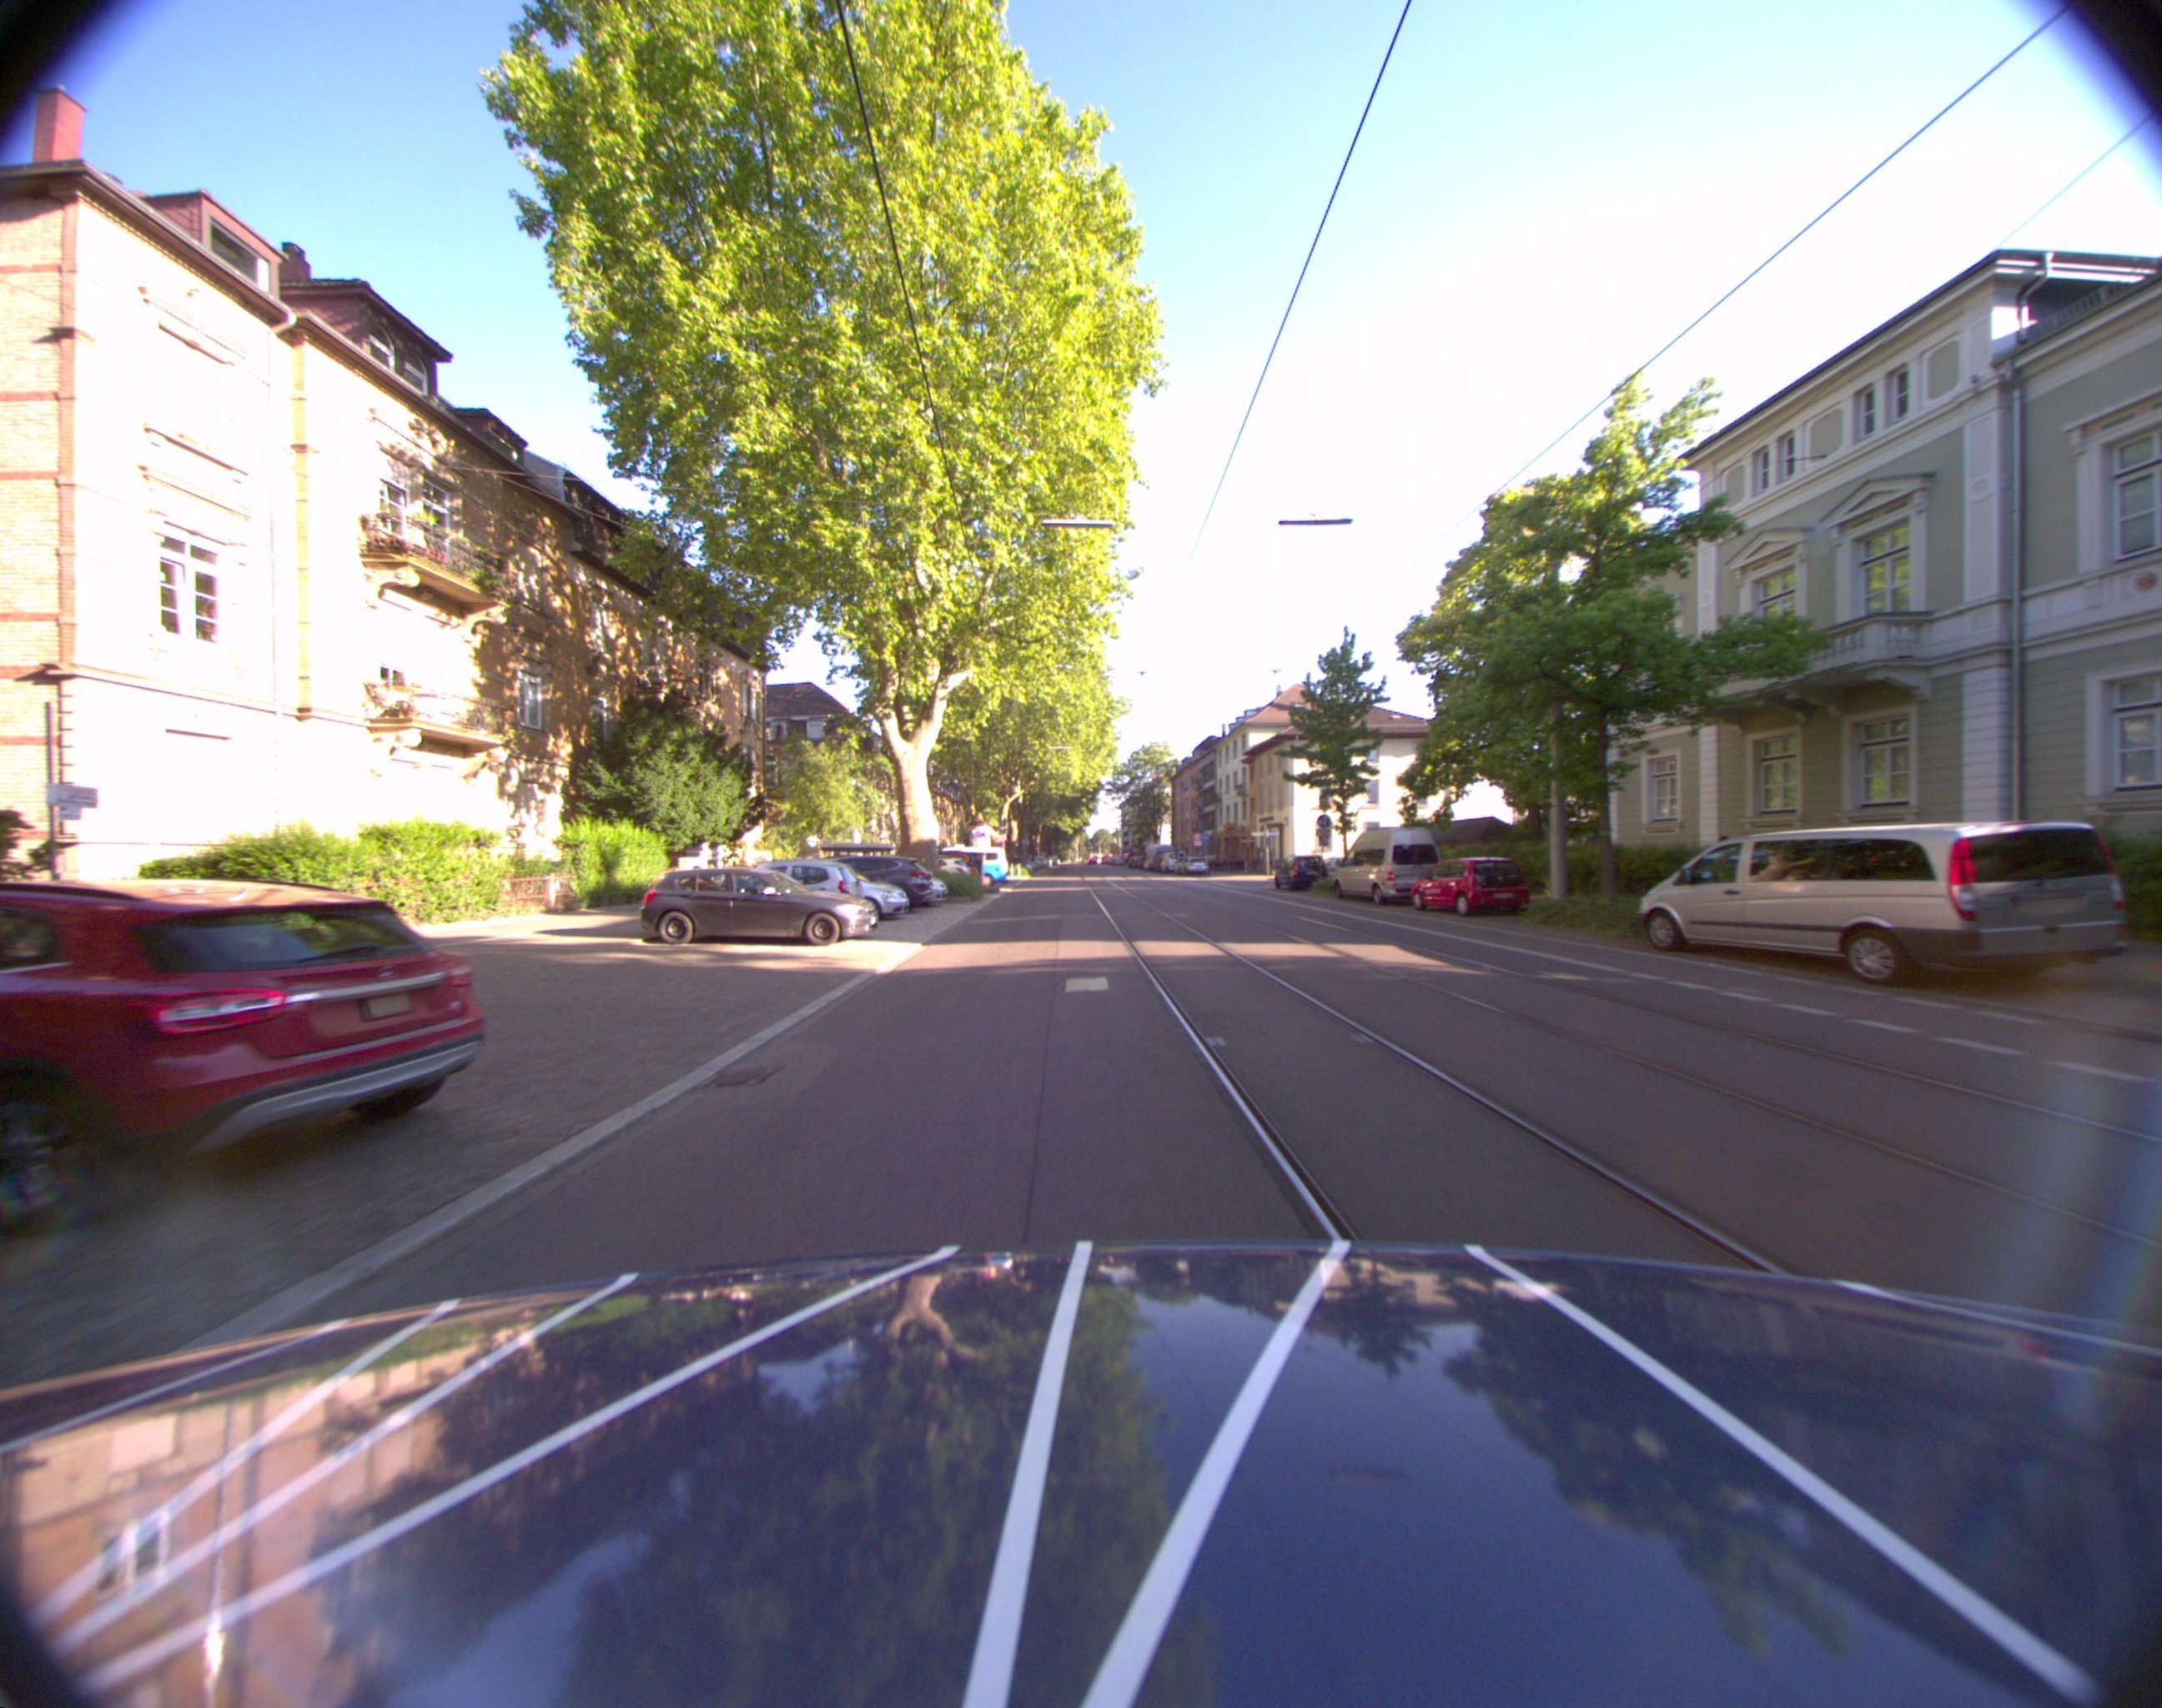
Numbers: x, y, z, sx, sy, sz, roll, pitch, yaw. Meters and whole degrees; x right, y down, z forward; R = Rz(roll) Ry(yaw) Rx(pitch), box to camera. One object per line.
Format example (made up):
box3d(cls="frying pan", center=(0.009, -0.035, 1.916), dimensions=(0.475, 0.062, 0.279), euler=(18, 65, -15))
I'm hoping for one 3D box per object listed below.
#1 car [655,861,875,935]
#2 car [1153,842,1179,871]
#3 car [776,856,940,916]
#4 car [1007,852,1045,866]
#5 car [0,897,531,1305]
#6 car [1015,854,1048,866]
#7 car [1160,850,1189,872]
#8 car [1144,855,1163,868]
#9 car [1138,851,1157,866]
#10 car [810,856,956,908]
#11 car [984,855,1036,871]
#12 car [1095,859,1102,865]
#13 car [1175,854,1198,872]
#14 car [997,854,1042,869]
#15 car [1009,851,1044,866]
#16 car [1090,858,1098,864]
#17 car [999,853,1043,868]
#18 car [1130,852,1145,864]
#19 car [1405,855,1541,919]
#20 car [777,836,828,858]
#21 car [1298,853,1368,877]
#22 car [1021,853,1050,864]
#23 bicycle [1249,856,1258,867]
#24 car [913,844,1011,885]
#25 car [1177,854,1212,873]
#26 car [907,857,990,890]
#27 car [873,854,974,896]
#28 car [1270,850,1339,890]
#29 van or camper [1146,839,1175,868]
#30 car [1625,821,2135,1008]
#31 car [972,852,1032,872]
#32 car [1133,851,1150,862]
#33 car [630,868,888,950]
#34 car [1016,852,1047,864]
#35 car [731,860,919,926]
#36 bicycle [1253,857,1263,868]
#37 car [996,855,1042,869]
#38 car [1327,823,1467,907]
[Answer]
box3d(cls="car", center=(-7.055, 0.962, 17.261), dimensions=(4.210, 1.546, 1.818), euler=(0, 0, 1))
box3d(cls="car", center=(8.719, 0.222, 78.575), dimensions=(1.928, 2.730, 4.546), euler=(-4, 0, -1))
box3d(cls="car", center=(-6.309, 0.893, 21.920), dimensions=(4.212, 1.609, 1.878), euler=(0, 0, -4))
box3d(cls="car", center=(-7.011, 0.670, 96.713), dimensions=(4.611, 1.781, 1.893), euler=(0, 0, 2))
box3d(cls="car", center=(-5.866, 1.063, 4.080), dimensions=(4.414, 1.534, 1.952), euler=(0, 0, 1))
box3d(cls="car", center=(-7.050, 0.837, 108.455), dimensions=(4.611, 1.631, 1.893), euler=(0, -1, 2))
box3d(cls="car", center=(8.907, 0.649, 72.517), dimensions=(1.928, 2.034, 4.940), euler=(-1, 0, -2))
box3d(cls="car", center=(8.728, 0.851, 91.699), dimensions=(1.791, 1.506, 3.472), euler=(-1, 0, -2))
box3d(cls="car", center=(8.467, 0.551, 97.214), dimensions=(1.791, 1.743, 4.434), euler=(-1, 0, -2))
box3d(cls="car", center=(-6.318, 0.880, 24.577), dimensions=(4.210, 1.609, 1.818), euler=(0, 0, 1))
box3d(cls="car", center=(-6.561, 0.863, 70.803), dimensions=(4.611, 1.485, 1.893), euler=(0, -1, 2))
box3d(cls="car", center=(4.621, 2.093, 204.047), dimensions=(1.769, 1.448, 3.585), euler=(0, 0, -1))
box3d(cls="car", center=(9.167, 0.776, 66.374), dimensions=(1.575, 1.484, 2.882), euler=(-1, 0, -1))
box3d(cls="car", center=(-6.546, 0.787, 81.734), dimensions=(4.611, 1.556, 1.893), euler=(0, -1, 2))
box3d(cls="car", center=(-7.349, 0.641, 102.929), dimensions=(4.636, 2.001, 1.893), euler=(0, 0, 2))
box3d(cls="car", center=(3.111, 1.676, 179.920), dimensions=(1.769, 1.448, 3.585), euler=(0, 0, -1))
box3d(cls="car", center=(-6.599, 0.743, 83.709), dimensions=(4.611, 1.631, 1.893), euler=(0, -1, 2))
box3d(cls="car", center=(8.303, 0.599, 112.198), dimensions=(1.791, 1.660, 4.434), euler=(-1, 0, -2))
box3d(cls="car", center=(10.411, 0.813, 20.490), dimensions=(1.689, 1.530, 3.707), euler=(0, 0, -1))
box3d(cls="car", center=(-20.028, -0.494, 54.856), dimensions=(1.728, 1.573, 4.003), euler=(0, 0, 9))
box3d(cls="car", center=(16.867, 0.728, 50.964), dimensions=(4.071, 1.608, 1.966), euler=(0, 0, 3))
box3d(cls="car", center=(-7.337, 0.720, 123.082), dimensions=(4.611, 1.705, 1.893), euler=(0, 0, 2))
box3d(cls="bicycle", center=(14.940, 0.682, 65.841), dimensions=(0.362, 0.923, 1.647), euler=(0, 0, -1))
box3d(cls="car", center=(-6.154, 0.534, 39.901), dimensions=(4.860, 2.002, 2.193), euler=(1, 0, -4))
box3d(cls="car", center=(9.200, 0.729, 61.899), dimensions=(1.776, 1.484, 4.939), euler=(-1, 0, -4))
box3d(cls="car", center=(-6.430, 0.947, 37.202), dimensions=(3.792, 1.479, 1.790), euler=(1, 0, -3))
box3d(cls="car", center=(-6.392, 0.851, 31.200), dimensions=(3.792, 1.609, 1.790), euler=(1, 0, -3))
box3d(cls="car", center=(10.110, 0.689, 34.726), dimensions=(1.997, 1.680, 4.261), euler=(0, 0, 2))
box3d(cls="van or camper", center=(8.830, -0.041, 85.324), dimensions=(2.423, 2.960, 5.990), euler=(-4, 0, 0))
box3d(cls="car", center=(10.283, 0.646, 10.577), dimensions=(1.848, 1.977, 4.987), euler=(0, 0, 0))
box3d(cls="car", center=(-6.596, 0.705, 63.621), dimensions=(4.811, 1.621, 1.893), euler=(0, -1, -1))
box3d(cls="car", center=(8.500, 0.389, 107.296), dimensions=(1.791, 1.462, 4.434), euler=(-1, 0, -2))
box3d(cls="car", center=(-6.093, 1.016, 14.751), dimensions=(4.211, 1.439, 1.817), euler=(0, 0, -1))
box3d(cls="car", center=(-7.756, 0.641, 118.440), dimensions=(4.611, 1.705, 1.893), euler=(0, 0, 2))
box3d(cls="car", center=(-6.482, 0.967, 19.560), dimensions=(4.210, 1.565, 1.818), euler=(0, 0, 1))
box3d(cls="bicycle", center=(14.943, 0.680, 64.160), dimensions=(0.362, 0.923, 1.647), euler=(0, 0, -1))
box3d(cls="car", center=(-6.430, 0.835, 79.183), dimensions=(4.611, 1.485, 1.893), euler=(0, -1, 2))
box3d(cls="car", center=(10.371, 0.329, 25.499), dimensions=(2.310, 2.493, 5.342), euler=(0, 0, -3))
